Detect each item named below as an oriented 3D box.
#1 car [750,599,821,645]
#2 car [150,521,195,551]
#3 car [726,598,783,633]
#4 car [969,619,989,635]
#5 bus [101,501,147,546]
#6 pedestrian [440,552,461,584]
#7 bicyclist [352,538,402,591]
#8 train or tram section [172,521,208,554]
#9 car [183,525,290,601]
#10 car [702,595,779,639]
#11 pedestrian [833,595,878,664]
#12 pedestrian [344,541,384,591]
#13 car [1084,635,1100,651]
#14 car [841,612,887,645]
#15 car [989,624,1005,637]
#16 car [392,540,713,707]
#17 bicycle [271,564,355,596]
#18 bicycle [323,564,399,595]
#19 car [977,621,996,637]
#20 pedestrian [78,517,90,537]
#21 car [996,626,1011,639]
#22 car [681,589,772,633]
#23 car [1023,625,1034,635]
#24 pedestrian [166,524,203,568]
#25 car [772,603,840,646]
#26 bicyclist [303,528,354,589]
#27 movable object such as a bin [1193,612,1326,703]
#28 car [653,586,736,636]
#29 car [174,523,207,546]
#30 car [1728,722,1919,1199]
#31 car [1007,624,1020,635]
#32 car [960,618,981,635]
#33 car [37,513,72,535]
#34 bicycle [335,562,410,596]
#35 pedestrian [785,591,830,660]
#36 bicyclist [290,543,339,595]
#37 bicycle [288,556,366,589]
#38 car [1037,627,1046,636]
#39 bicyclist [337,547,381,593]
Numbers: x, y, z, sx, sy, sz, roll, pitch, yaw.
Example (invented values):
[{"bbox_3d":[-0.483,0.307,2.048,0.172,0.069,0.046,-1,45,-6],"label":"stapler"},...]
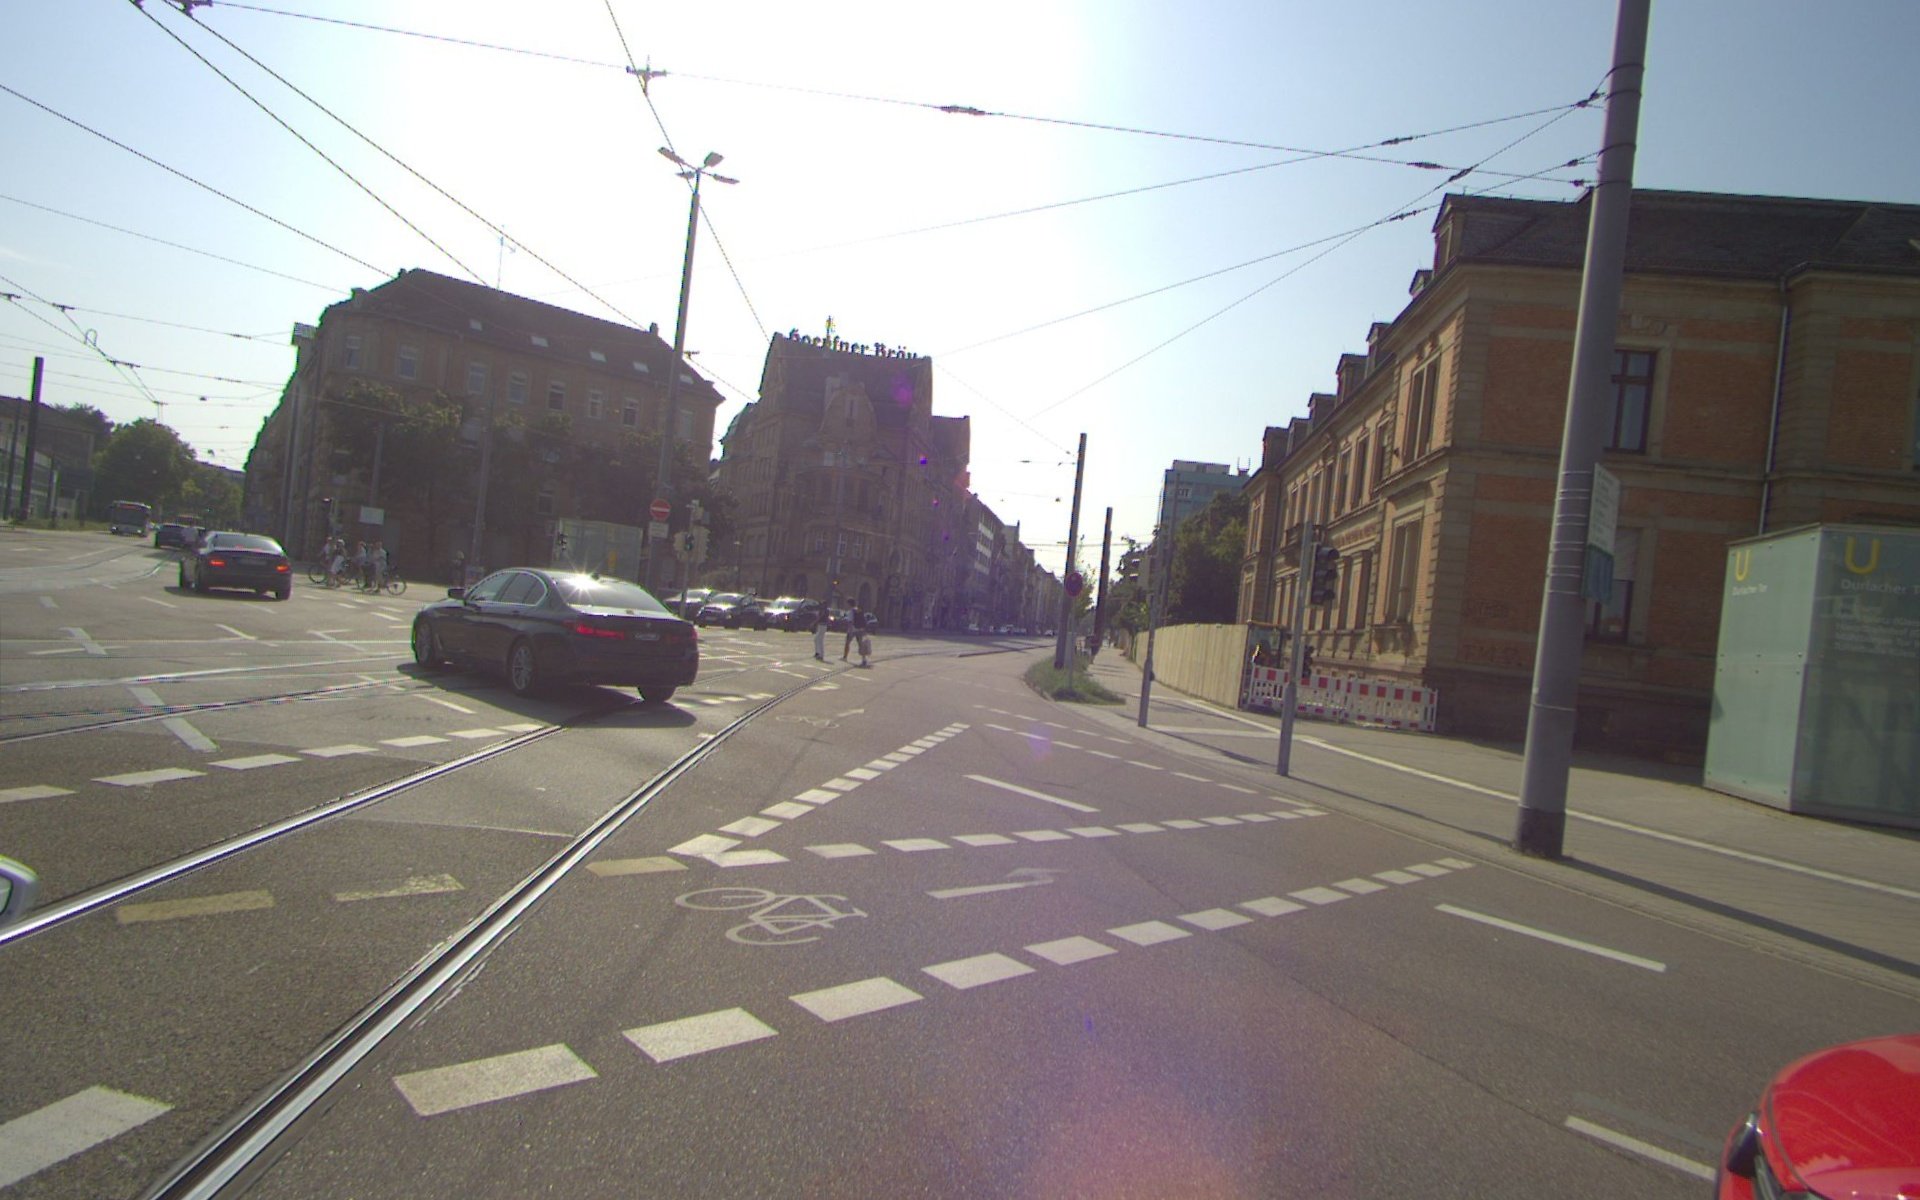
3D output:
[{"bbox_3d":[-8.114,1.076,47.044,1.874,1.881,4.072,6,-1,9],"label":"car"},{"bbox_3d":[-46.909,-3.824,60.006,1.815,1.446,4.369,7,-1,-36],"label":"car"},{"bbox_3d":[-12.724,1.000,62.586,1.894,1.881,4.278,6,-1,9],"label":"car"},{"bbox_3d":[2.535,3.669,134.311,1.895,1.881,4.118,6,-1,9],"label":"car"},{"bbox_3d":[-81.162,-7.369,97.559,2.909,3.662,16.558,7,-1,-41],"label":"bus"},{"bbox_3d":[-24.415,-1.522,48.207,0.537,1.489,0.667,6,0,-7],"label":"pedestrian"},{"bbox_3d":[-21.087,-1.275,36.409,1.073,1.729,0.937,6,0,0],"label":"bicyclist"},{"bbox_3d":[-102.581,-8.378,133.937,2.645,3.745,10.462,6,0,-43],"label":"train or tram section"},{"bbox_3d":[-17.055,-0.901,23.638,1.675,1.460,4.325,6,-1,-40],"label":"car"},{"bbox_3d":[-10.913,0.890,50.431,1.873,1.881,4.714,6,-1,11],"label":"car"},{"bbox_3d":[-2.780,0.781,26.800,0.908,1.710,0.923,6,0,-13],"label":"pedestrian"},{"bbox_3d":[-22.934,-1.292,38.718,0.844,1.819,0.927,6,0,-4],"label":"pedestrian"},{"bbox_3d":[16.869,5.512,128.737,1.713,1.790,4.411,7,-3,9],"label":"car"},{"bbox_3d":[-6.339,1.932,67.001,1.895,1.881,4.118,6,-1,9],"label":"car"},{"bbox_3d":[5.994,4.974,163.712,1.895,1.881,4.118,6,-1,9],"label":"car"},{"bbox_3d":[-5.197,0.221,12.479,4.607,1.509,1.681,6,-1,41],"label":"car"},{"bbox_3d":[-24.595,-0.744,38.316,1.072,0.976,2.629,6,-1,13],"label":"bicycle"},{"bbox_3d":[-24.440,-0.818,41.106,1.072,0.976,2.629,6,-1,13],"label":"bicycle"},{"bbox_3d":[3.729,4.093,141.699,1.895,1.881,4.118,6,-1,9],"label":"car"},{"bbox_3d":[-75.763,-6.328,86.970,0.592,1.650,0.631,6,0,-36],"label":"pedestrian"},{"bbox_3d":[7.478,5.590,171.191,1.895,1.881,4.118,6,-1,9],"label":"car"},{"bbox_3d":[-9.444,0.501,41.087,1.985,1.413,4.392,6,-1,9],"label":"car"},{"bbox_3d":[14.826,6.502,217.871,1.895,1.881,4.118,6,-1,9],"label":"car"},{"bbox_3d":[-29.613,-2.057,38.410,0.697,1.522,0.779,6,0,25],"label":"pedestrian"},{"bbox_3d":[-7.830,1.282,51.710,2.094,1.881,4.186,6,-1,9],"label":"car"},{"bbox_3d":[-22.955,-1.499,36.598,1.073,2.049,0.937,6,0,0],"label":"bicyclist"},{"bbox_3d":[9.882,1.826,34.077,2.406,2.472,7.983,6,-1,4],"label":"movable object such as a bin"},{"bbox_3d":[-11.844,0.543,45.123,1.873,1.881,4.254,6,-1,9],"label":"car"},{"bbox_3d":[-57.508,-4.904,75.143,1.817,1.446,4.365,7,-1,-38],"label":"car"},{"bbox_3d":[3.380,1.197,0.834,4.309,1.510,1.681,6,0,40],"label":"car"},{"bbox_3d":[10.087,5.556,190.799,1.895,1.881,4.118,6,-1,9],"label":"car"},{"bbox_3d":[1.355,3.320,126.269,1.895,1.881,4.118,6,-1,9],"label":"car"},{"bbox_3d":[-70.930,-5.901,78.804,1.604,1.494,3.960,4,0,-37],"label":"car"},{"bbox_3d":[-21.149,-0.737,36.313,1.073,0.976,2.627,7,-1,0],"label":"bicycle"},{"bbox_3d":[-4.048,0.660,26.601,0.908,1.710,0.835,6,0,-16],"label":"pedestrian"},{"bbox_3d":[-24.550,-1.169,38.297,1.072,1.822,0.937,6,0,13],"label":"bicyclist"},{"bbox_3d":[-23.008,-0.974,36.645,1.073,0.976,2.627,7,-1,0],"label":"bicycle"},{"bbox_3d":[21.295,8.194,261.925,1.895,1.881,4.118,6,-1,9],"label":"car"},{"bbox_3d":[-24.437,-1.196,40.912,1.072,1.700,0.937,6,0,13],"label":"bicyclist"}]
